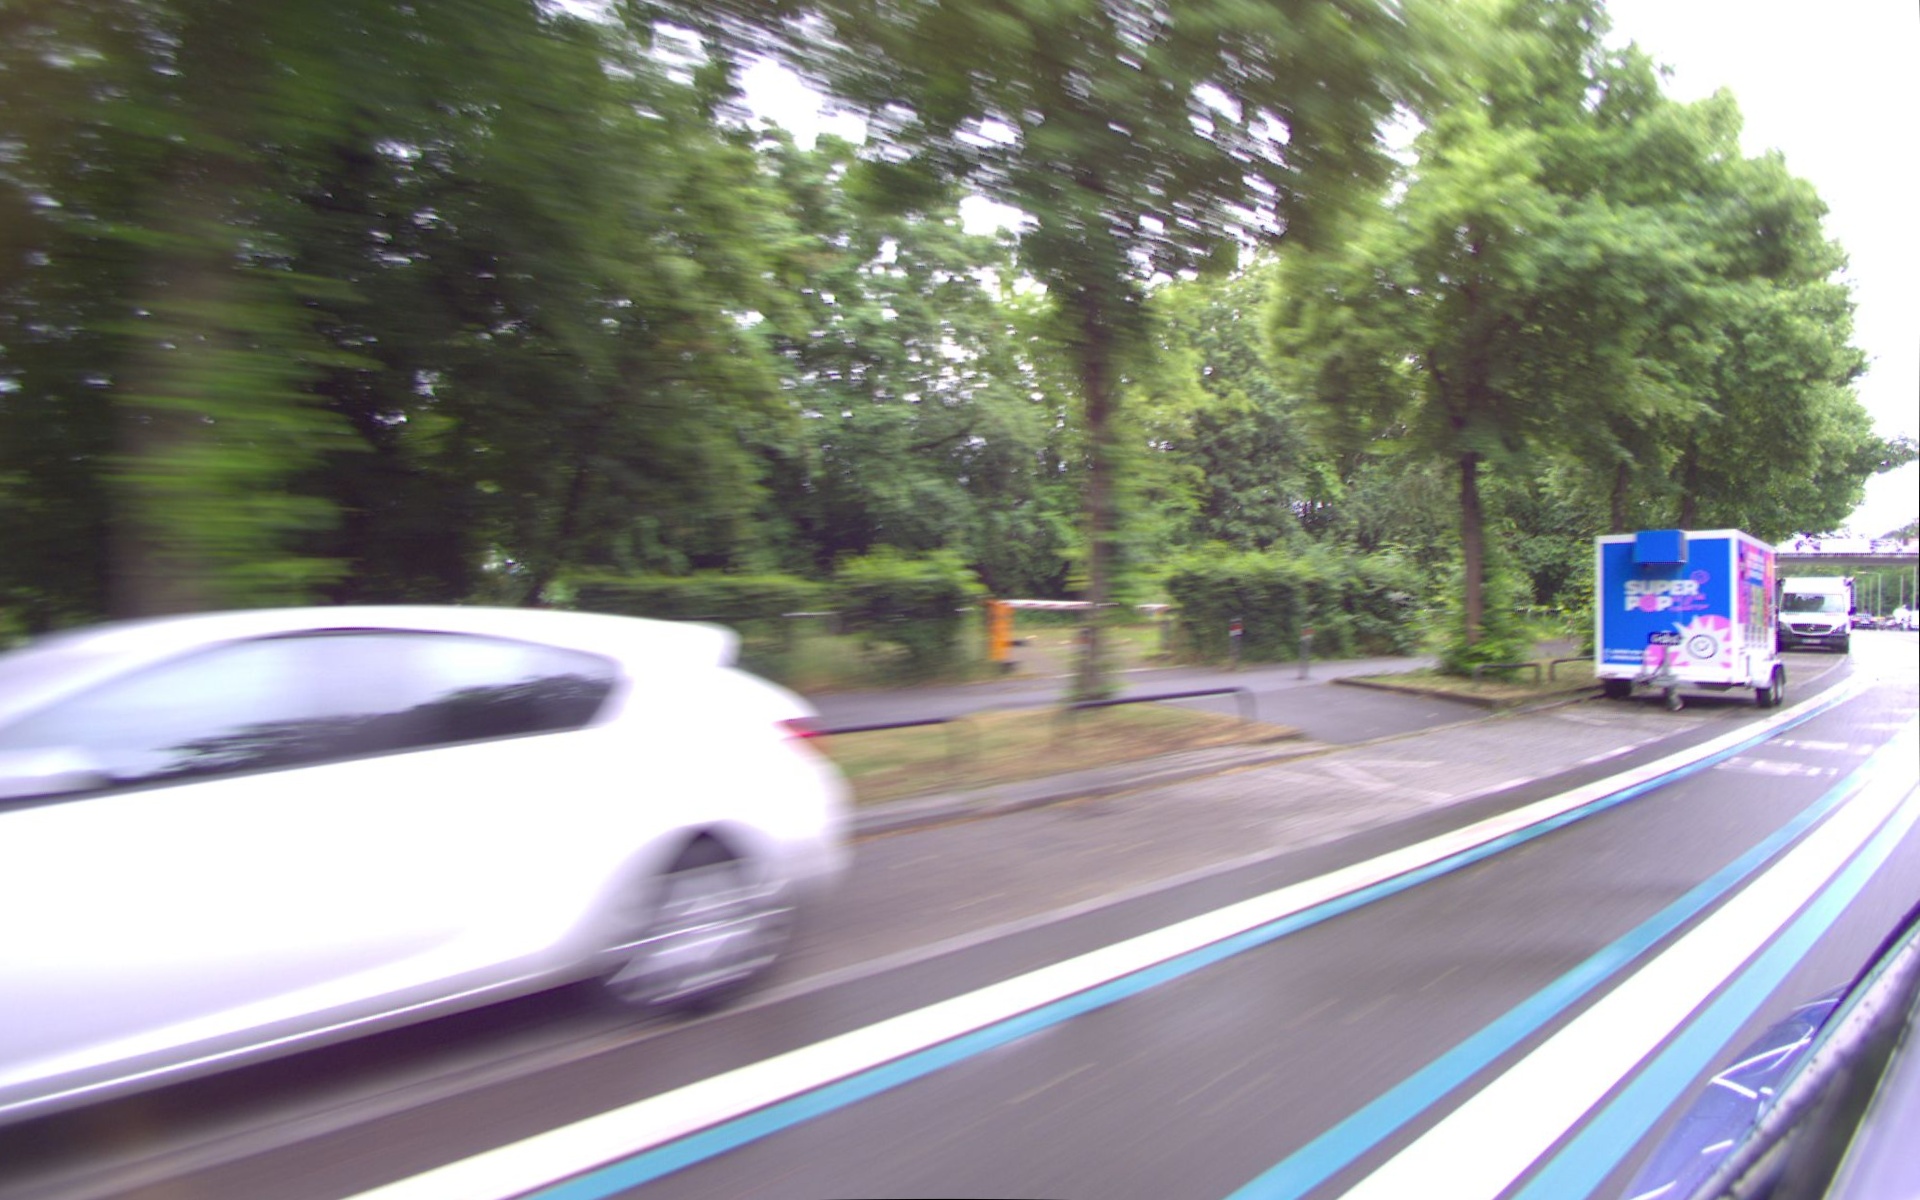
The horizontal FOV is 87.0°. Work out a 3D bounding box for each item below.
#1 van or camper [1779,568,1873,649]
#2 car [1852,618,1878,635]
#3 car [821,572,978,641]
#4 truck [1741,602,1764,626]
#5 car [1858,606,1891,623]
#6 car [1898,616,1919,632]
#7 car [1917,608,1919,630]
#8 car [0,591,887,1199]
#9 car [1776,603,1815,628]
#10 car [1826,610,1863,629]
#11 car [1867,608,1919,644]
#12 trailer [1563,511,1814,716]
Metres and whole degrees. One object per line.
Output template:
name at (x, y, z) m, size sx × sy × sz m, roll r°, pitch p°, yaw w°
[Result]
van or camper at (31.416, 0.299, 36.621) m, size 2.316 × 2.698 × 6.282 m, roll 0°, pitch -1°, yaw 43°
car at (115.106, 3.427, 128.775) m, size 1.866 × 2.002 × 4.675 m, roll 2°, pitch -1°, yaw 34°
car at (-1.491, 0.092, 23.334) m, size 1.853 × 1.338 × 4.154 m, roll 1°, pitch 2°, yaw -32°
truck at (83.839, 1.489, 107.139) m, size 1.714 × 2.363 × 3.948 m, roll 1°, pitch -2°, yaw 35°
car at (81.670, 1.274, 90.439) m, size 1.755 × 1.455 × 4.097 m, roll 0°, pitch 0°, yaw 36°
car at (96.447, 2.429, 102.460) m, size 1.603 × 1.464 × 3.985 m, roll 2°, pitch -1°, yaw 35°
car at (88.273, 1.736, 91.564) m, size 1.975 × 1.939 × 5.153 m, roll 1°, pitch -2°, yaw 38°
car at (-2.645, 0.714, 3.306) m, size 4.565 × 1.446 × 1.864 m, roll 0°, pitch -1°, yaw -39°
car at (53.270, 0.972, 64.551) m, size 1.656 × 1.554 × 3.692 m, roll 0°, pitch 0°, yaw 36°
car at (70.395, 1.556, 80.613) m, size 1.818 × 1.481 × 3.831 m, roll 0°, pitch -2°, yaw 35°
car at (40.111, 1.088, 43.278) m, size 1.675 × 1.393 × 3.945 m, roll 1°, pitch 1°, yaw 38°
trailer at (11.629, 0.186, 15.993) m, size 5.287 × 2.706 × 2.318 m, roll 0°, pitch -1°, yaw -44°
